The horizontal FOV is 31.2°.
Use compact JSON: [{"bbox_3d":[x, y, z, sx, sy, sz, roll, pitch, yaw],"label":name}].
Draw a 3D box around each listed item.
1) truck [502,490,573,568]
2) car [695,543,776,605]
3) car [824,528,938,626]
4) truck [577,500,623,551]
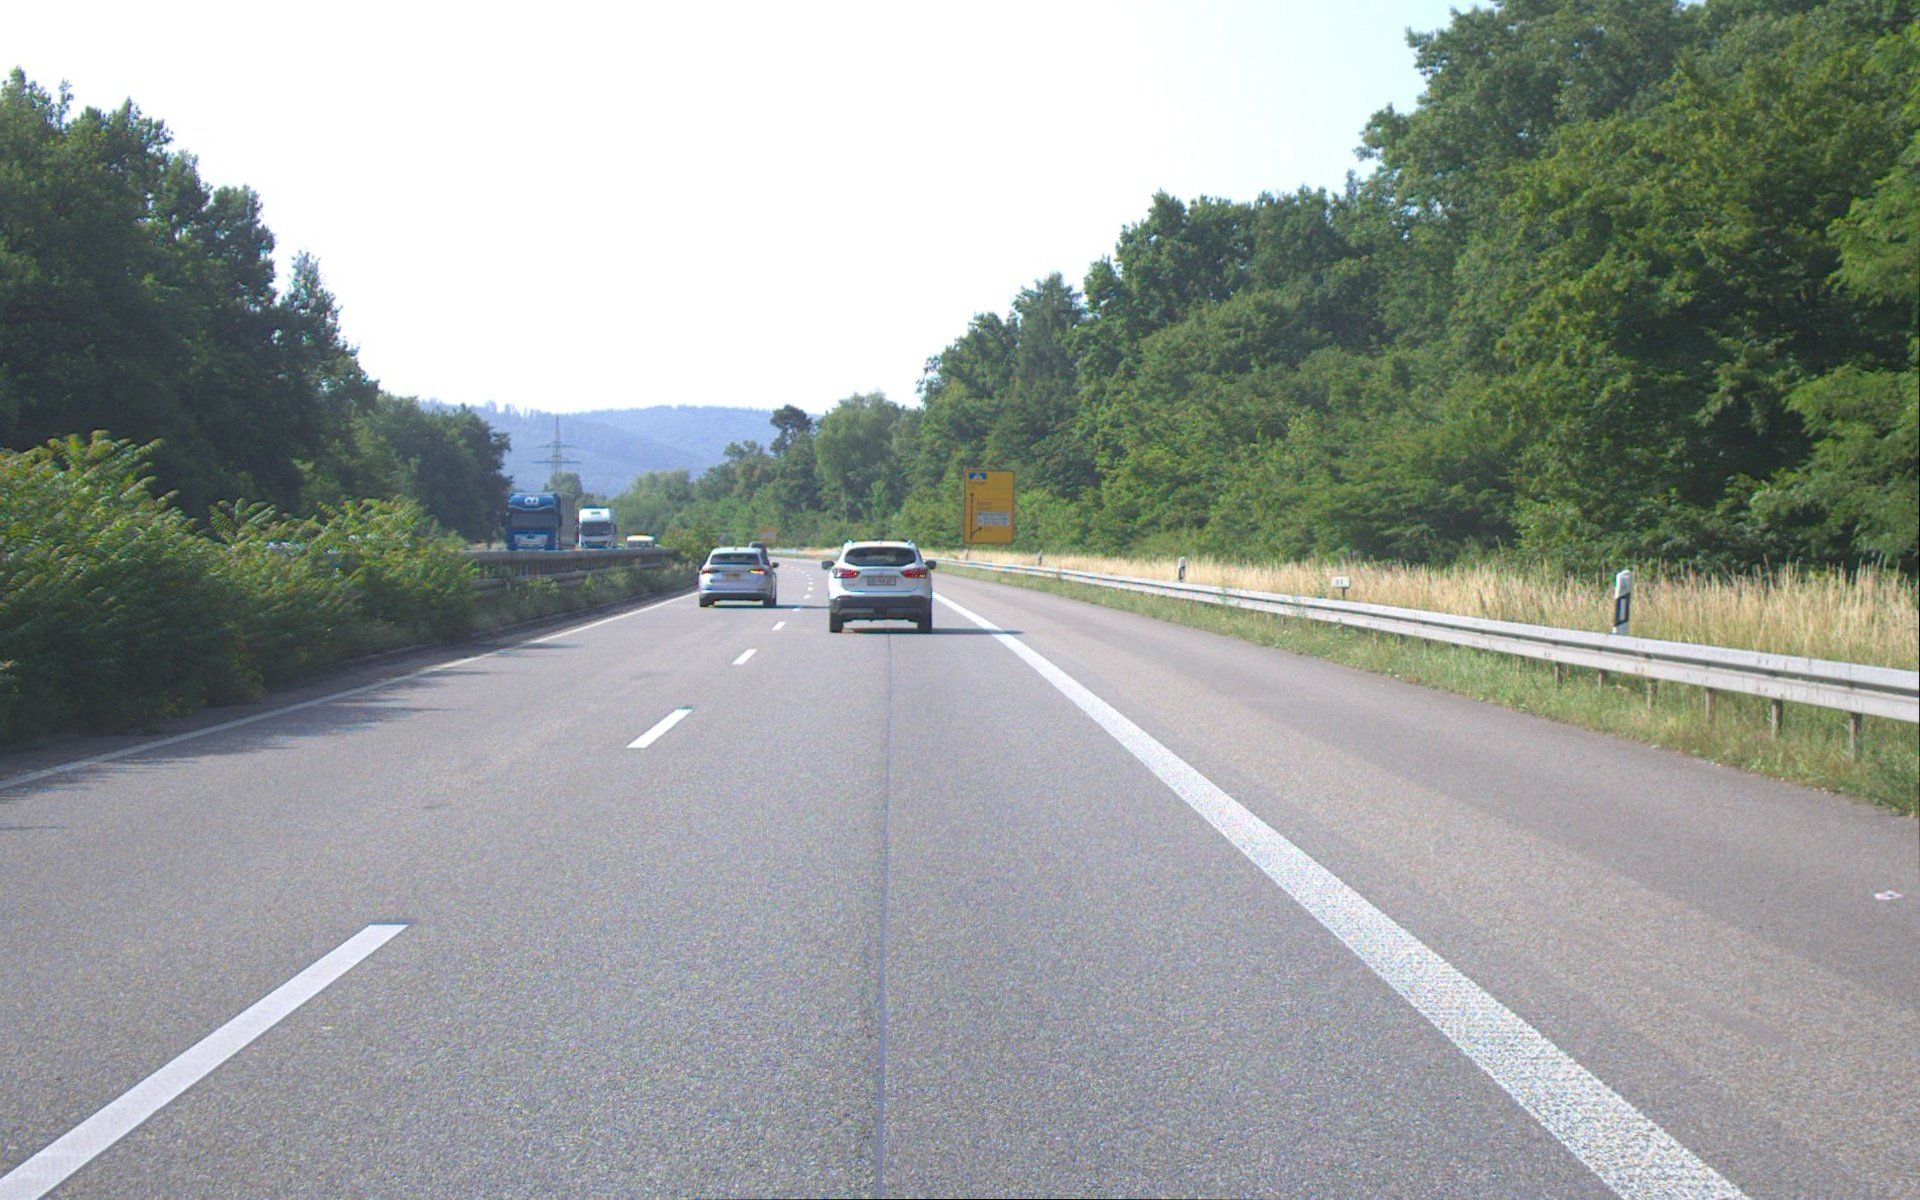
[{"bbox_3d":[-21.092,-3.530,171.960,2.801,3.757,8.476,1,1,-2],"label":"truck"},{"bbox_3d":[-5.493,-0.659,84.484,1.792,1.433,5.279,0,1,-2],"label":"car"},{"bbox_3d":[-1.362,-0.434,60.317,1.873,1.580,4.000,2,1,-1],"label":"car"},{"bbox_3d":[-26.723,-5.530,255.347,2.801,3.680,8.476,1,1,-2],"label":"truck"}]
